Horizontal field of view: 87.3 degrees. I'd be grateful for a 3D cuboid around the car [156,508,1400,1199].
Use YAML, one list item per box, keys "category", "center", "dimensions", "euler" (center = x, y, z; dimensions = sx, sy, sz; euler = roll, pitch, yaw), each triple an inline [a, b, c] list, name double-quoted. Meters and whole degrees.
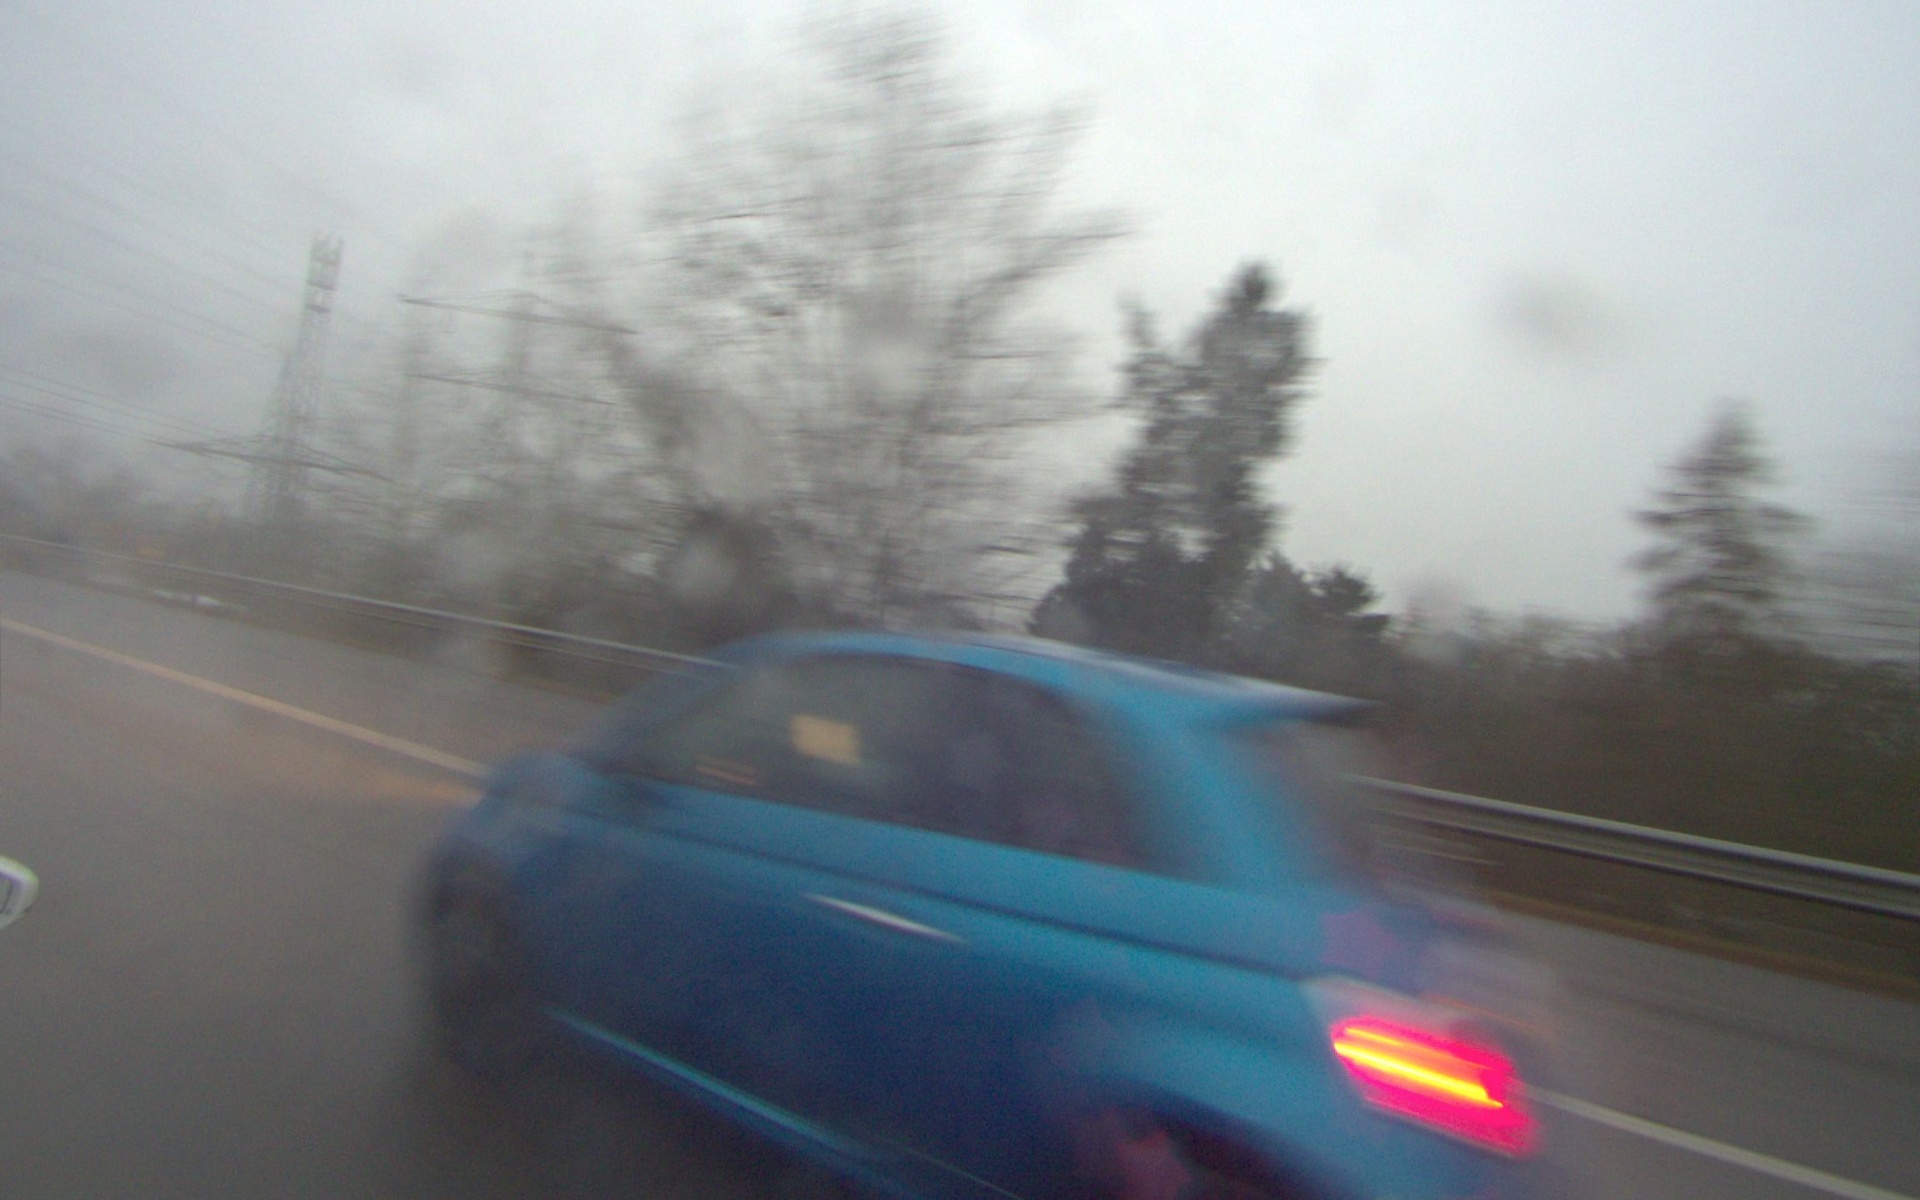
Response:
- category: "car"
  center: [-0.797, 0.626, 3.622]
  dimensions: [4.079, 1.470, 1.849]
  euler: [5, -2, 31]
